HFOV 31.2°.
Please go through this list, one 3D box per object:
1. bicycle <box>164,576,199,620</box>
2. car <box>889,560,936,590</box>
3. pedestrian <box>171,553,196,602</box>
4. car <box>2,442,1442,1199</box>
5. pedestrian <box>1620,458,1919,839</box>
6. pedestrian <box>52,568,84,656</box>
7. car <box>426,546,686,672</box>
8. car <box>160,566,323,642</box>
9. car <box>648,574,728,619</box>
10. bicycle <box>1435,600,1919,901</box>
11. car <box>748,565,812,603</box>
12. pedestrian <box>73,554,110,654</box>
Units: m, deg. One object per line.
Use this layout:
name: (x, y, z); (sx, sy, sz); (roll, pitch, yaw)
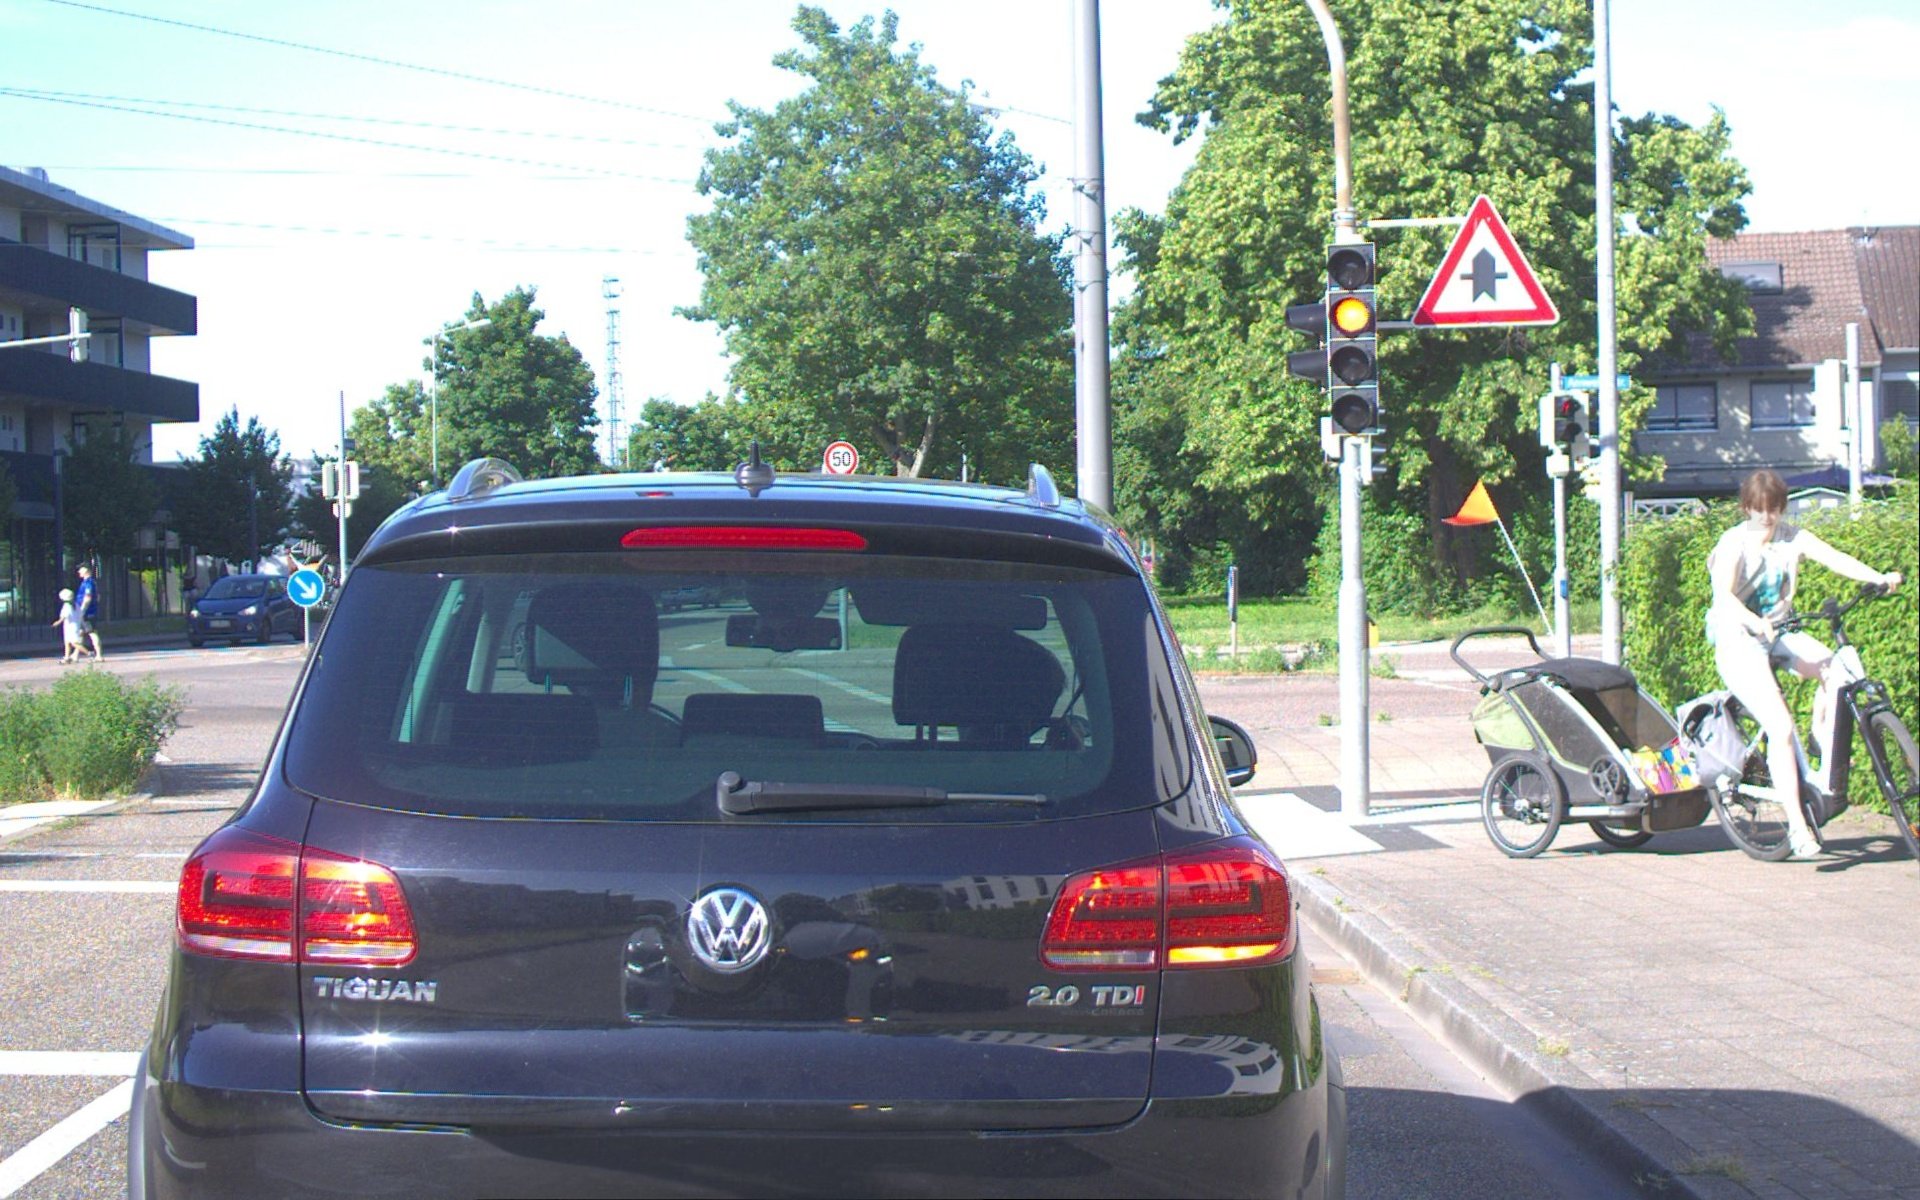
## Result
bicycle: (-23.985, -0.065, 105.917); (0.630, 1.327, 1.913); (1, 1, 0)
car: (-2.551, -1.340, 185.708); (1.994, 1.569, 4.338); (1, 1, 7)
pedestrian: (-23.972, -0.691, 106.126); (0.642, 1.504, 0.596); (1, 0, 0)
car: (-0.337, 0.601, 6.496); (1.869, 1.632, 4.000); (1, 1, -1)
pedestrian: (3.535, 0.195, 15.017); (0.910, 1.588, 0.854); (-2, 1, -28)
pedestrian: (-15.375, 0.203, 59.249); (0.441, 1.498, 0.518); (1, 0, -6)
car: (-5.714, 0.101, 48.234); (1.994, 1.678, 4.000); (0, 1, -34)
car: (-15.473, 0.072, 74.249); (1.994, 1.569, 4.337); (1, 1, 9)
car: (-9.616, -0.140, 121.979); (1.994, 1.569, 4.338); (1, 1, 7)
bicycle: (3.427, 0.601, 15.261); (0.928, 1.169, 3.125); (-2, 1, -28)
car: (-7.672, -0.681, 147.019); (1.994, 1.569, 4.338); (1, 1, 7)
pedestrian: (-15.128, 0.069, 59.883); (0.543, 1.738, 0.518); (1, 0, -6)
